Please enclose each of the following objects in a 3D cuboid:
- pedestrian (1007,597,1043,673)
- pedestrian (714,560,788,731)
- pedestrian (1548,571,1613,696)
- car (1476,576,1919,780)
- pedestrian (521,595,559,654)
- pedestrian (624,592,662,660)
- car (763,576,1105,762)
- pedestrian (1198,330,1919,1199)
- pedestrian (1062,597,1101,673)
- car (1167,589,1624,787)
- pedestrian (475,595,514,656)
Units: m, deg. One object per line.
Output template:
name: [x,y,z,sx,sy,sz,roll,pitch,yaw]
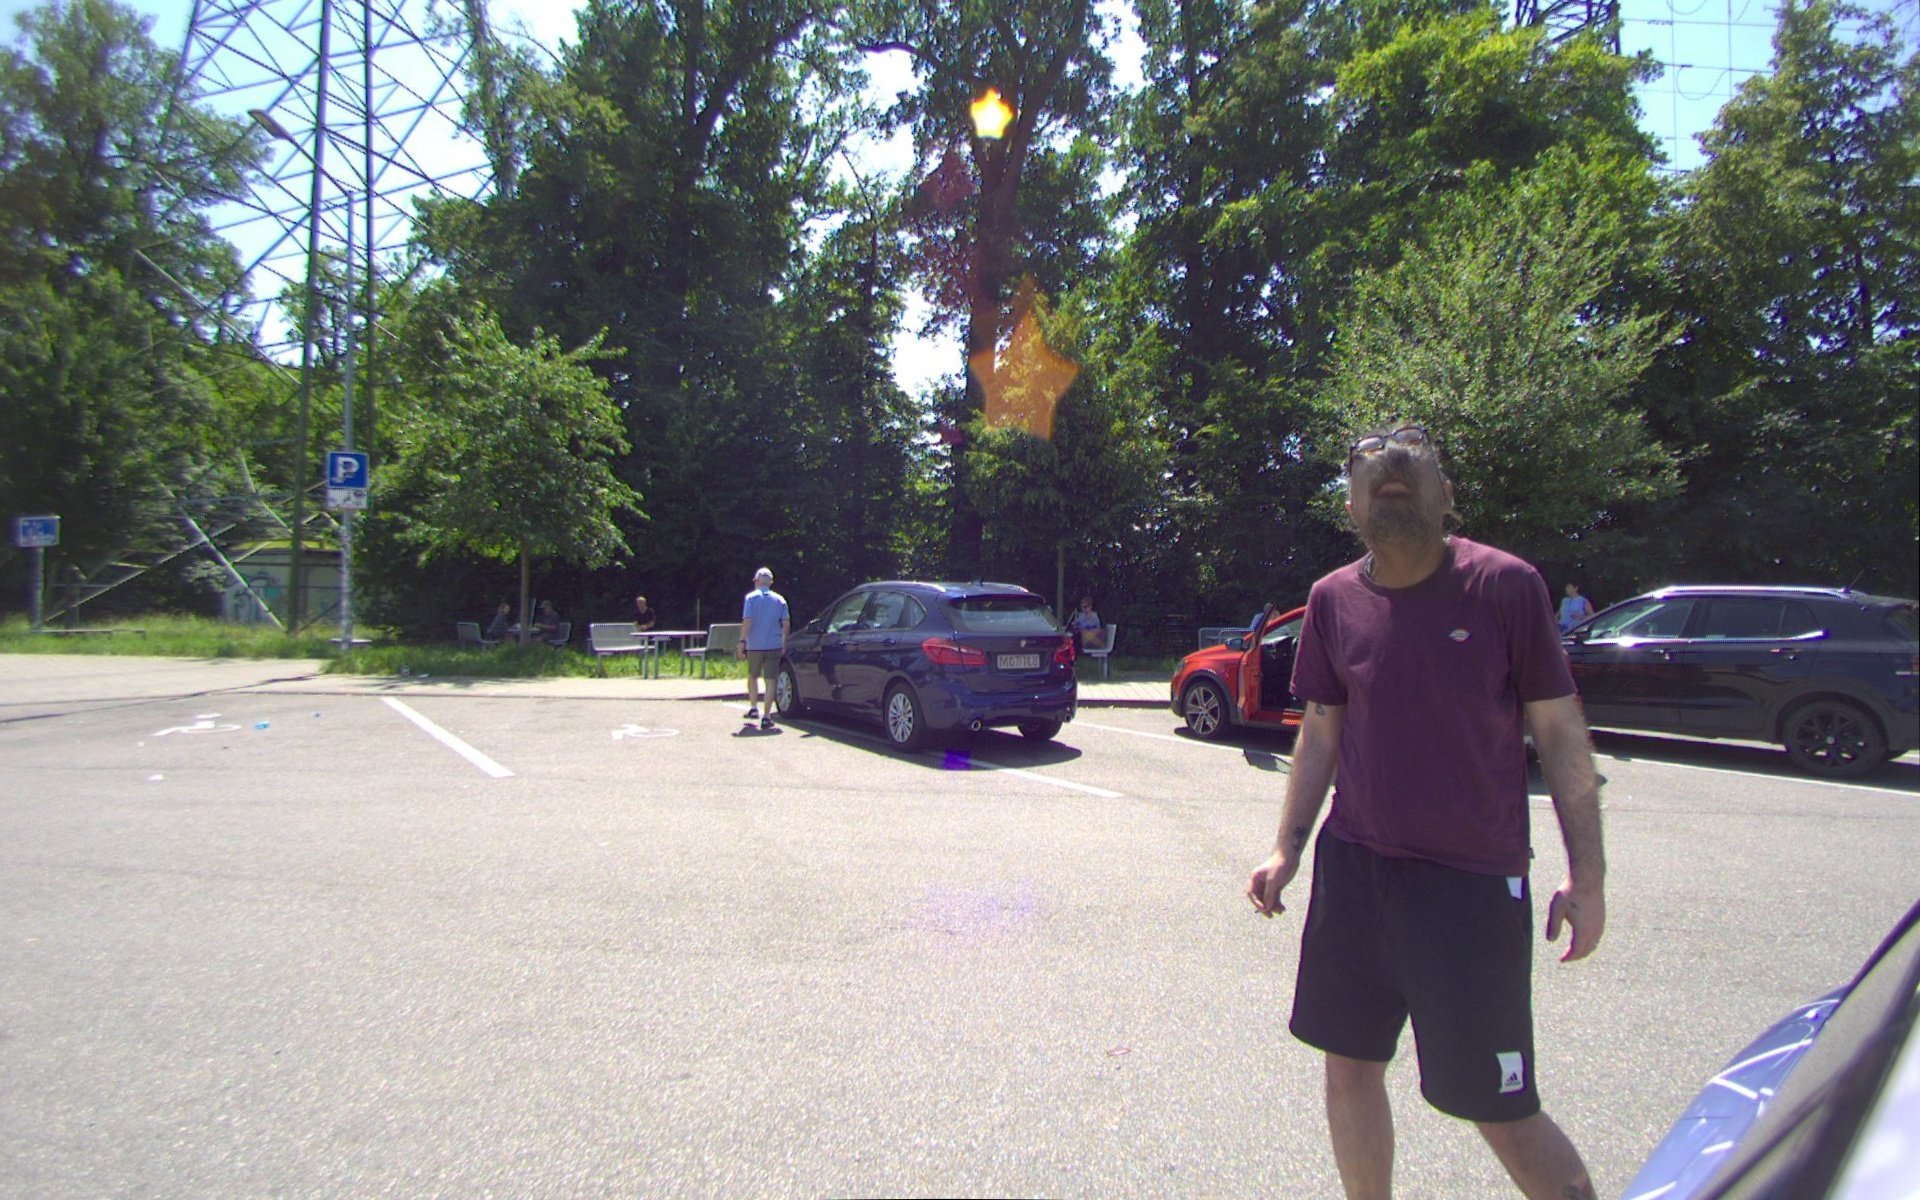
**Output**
pedestrian: [1.086,0.590,17.071,0.576,1.251,0.697,0,-1,1]
pedestrian: [-2.255,0.467,10.884,0.661,1.754,0.835,1,0,-19]
pedestrian: [9.412,0.489,15.378,0.757,1.854,0.516,0,0,24]
car: [7.237,0.597,9.697,1.707,1.607,3.732,1,0,-39]
pedestrian: [-9.742,0.554,23.468,0.687,1.352,0.563,0,0,-40]
pedestrian: [-6.670,0.529,21.307,0.553,1.408,0.700,0,0,2]
car: [-0.466,0.561,10.655,1.776,1.562,3.940,1,0,-34]
pedestrian: [1.065,0.549,1.940,0.846,1.857,0.863,0,0,-19]
pedestrian: [2.034,0.585,17.004,0.576,1.251,0.697,0,-1,1]
car: [3.872,0.647,9.582,1.559,1.467,3.737,1,0,-33]
pedestrian: [-10.499,0.564,22.830,0.687,1.352,0.563,0,0,-40]
